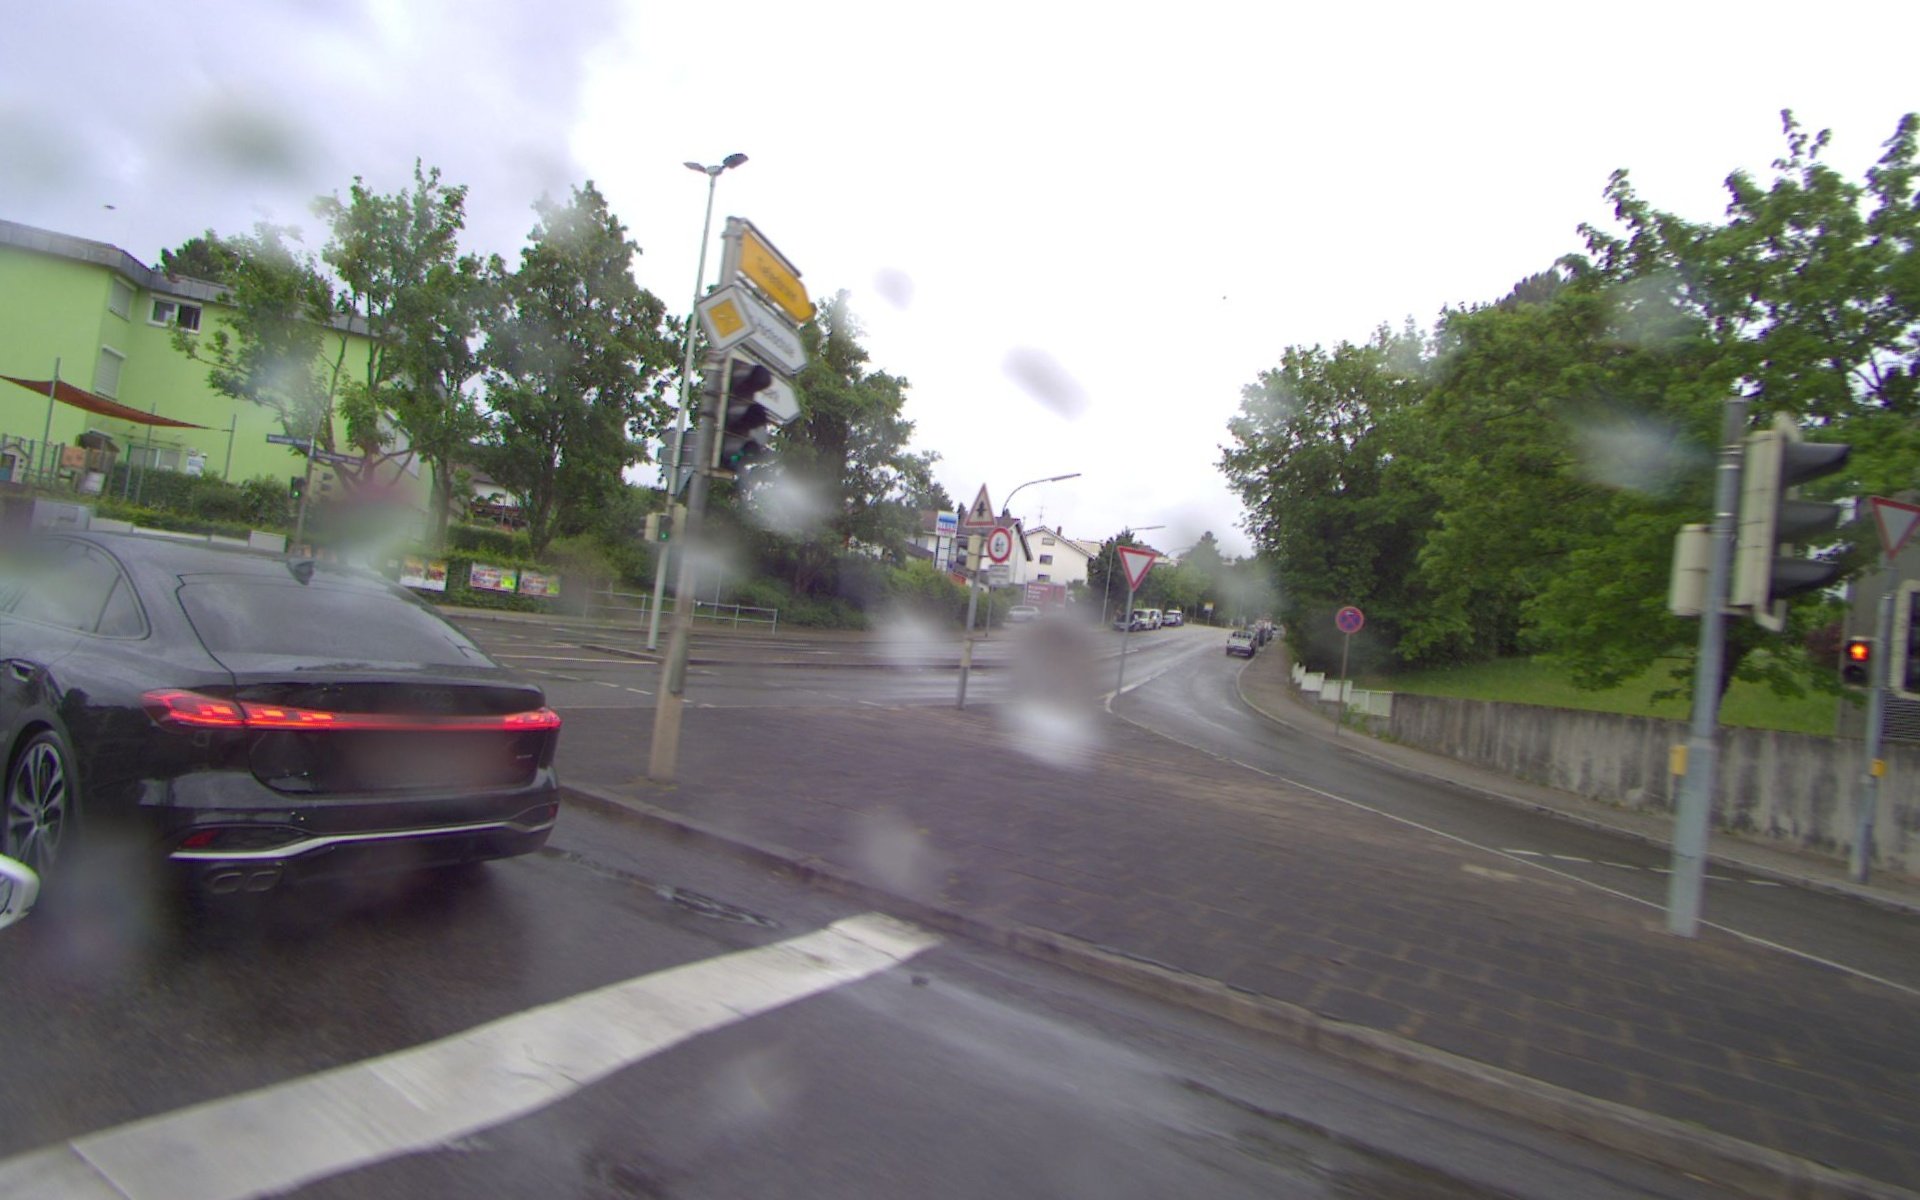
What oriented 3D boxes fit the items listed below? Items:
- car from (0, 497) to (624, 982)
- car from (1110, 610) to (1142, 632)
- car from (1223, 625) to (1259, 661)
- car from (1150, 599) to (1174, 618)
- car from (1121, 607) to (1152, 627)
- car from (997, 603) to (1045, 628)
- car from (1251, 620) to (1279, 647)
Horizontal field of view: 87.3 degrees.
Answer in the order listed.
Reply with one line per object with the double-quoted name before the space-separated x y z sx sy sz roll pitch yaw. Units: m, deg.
"car" -3.967 0.340 5.053 4.432 1.443 1.711 7 -2 31
"car" 14.652 1.845 88.601 1.963 1.528 3.996 12 4 18
"car" 19.082 2.895 68.416 1.963 1.684 3.994 12 6 14
"car" 23.265 0.978 115.691 1.963 1.748 3.996 12 4 18
"car" 16.524 1.567 93.986 1.963 1.496 3.996 12 4 18
"car" 5.111 1.299 83.748 3.650 1.838 1.841 2 -1 14
"car" 27.534 3.003 91.033 1.963 1.684 3.994 12 6 14
